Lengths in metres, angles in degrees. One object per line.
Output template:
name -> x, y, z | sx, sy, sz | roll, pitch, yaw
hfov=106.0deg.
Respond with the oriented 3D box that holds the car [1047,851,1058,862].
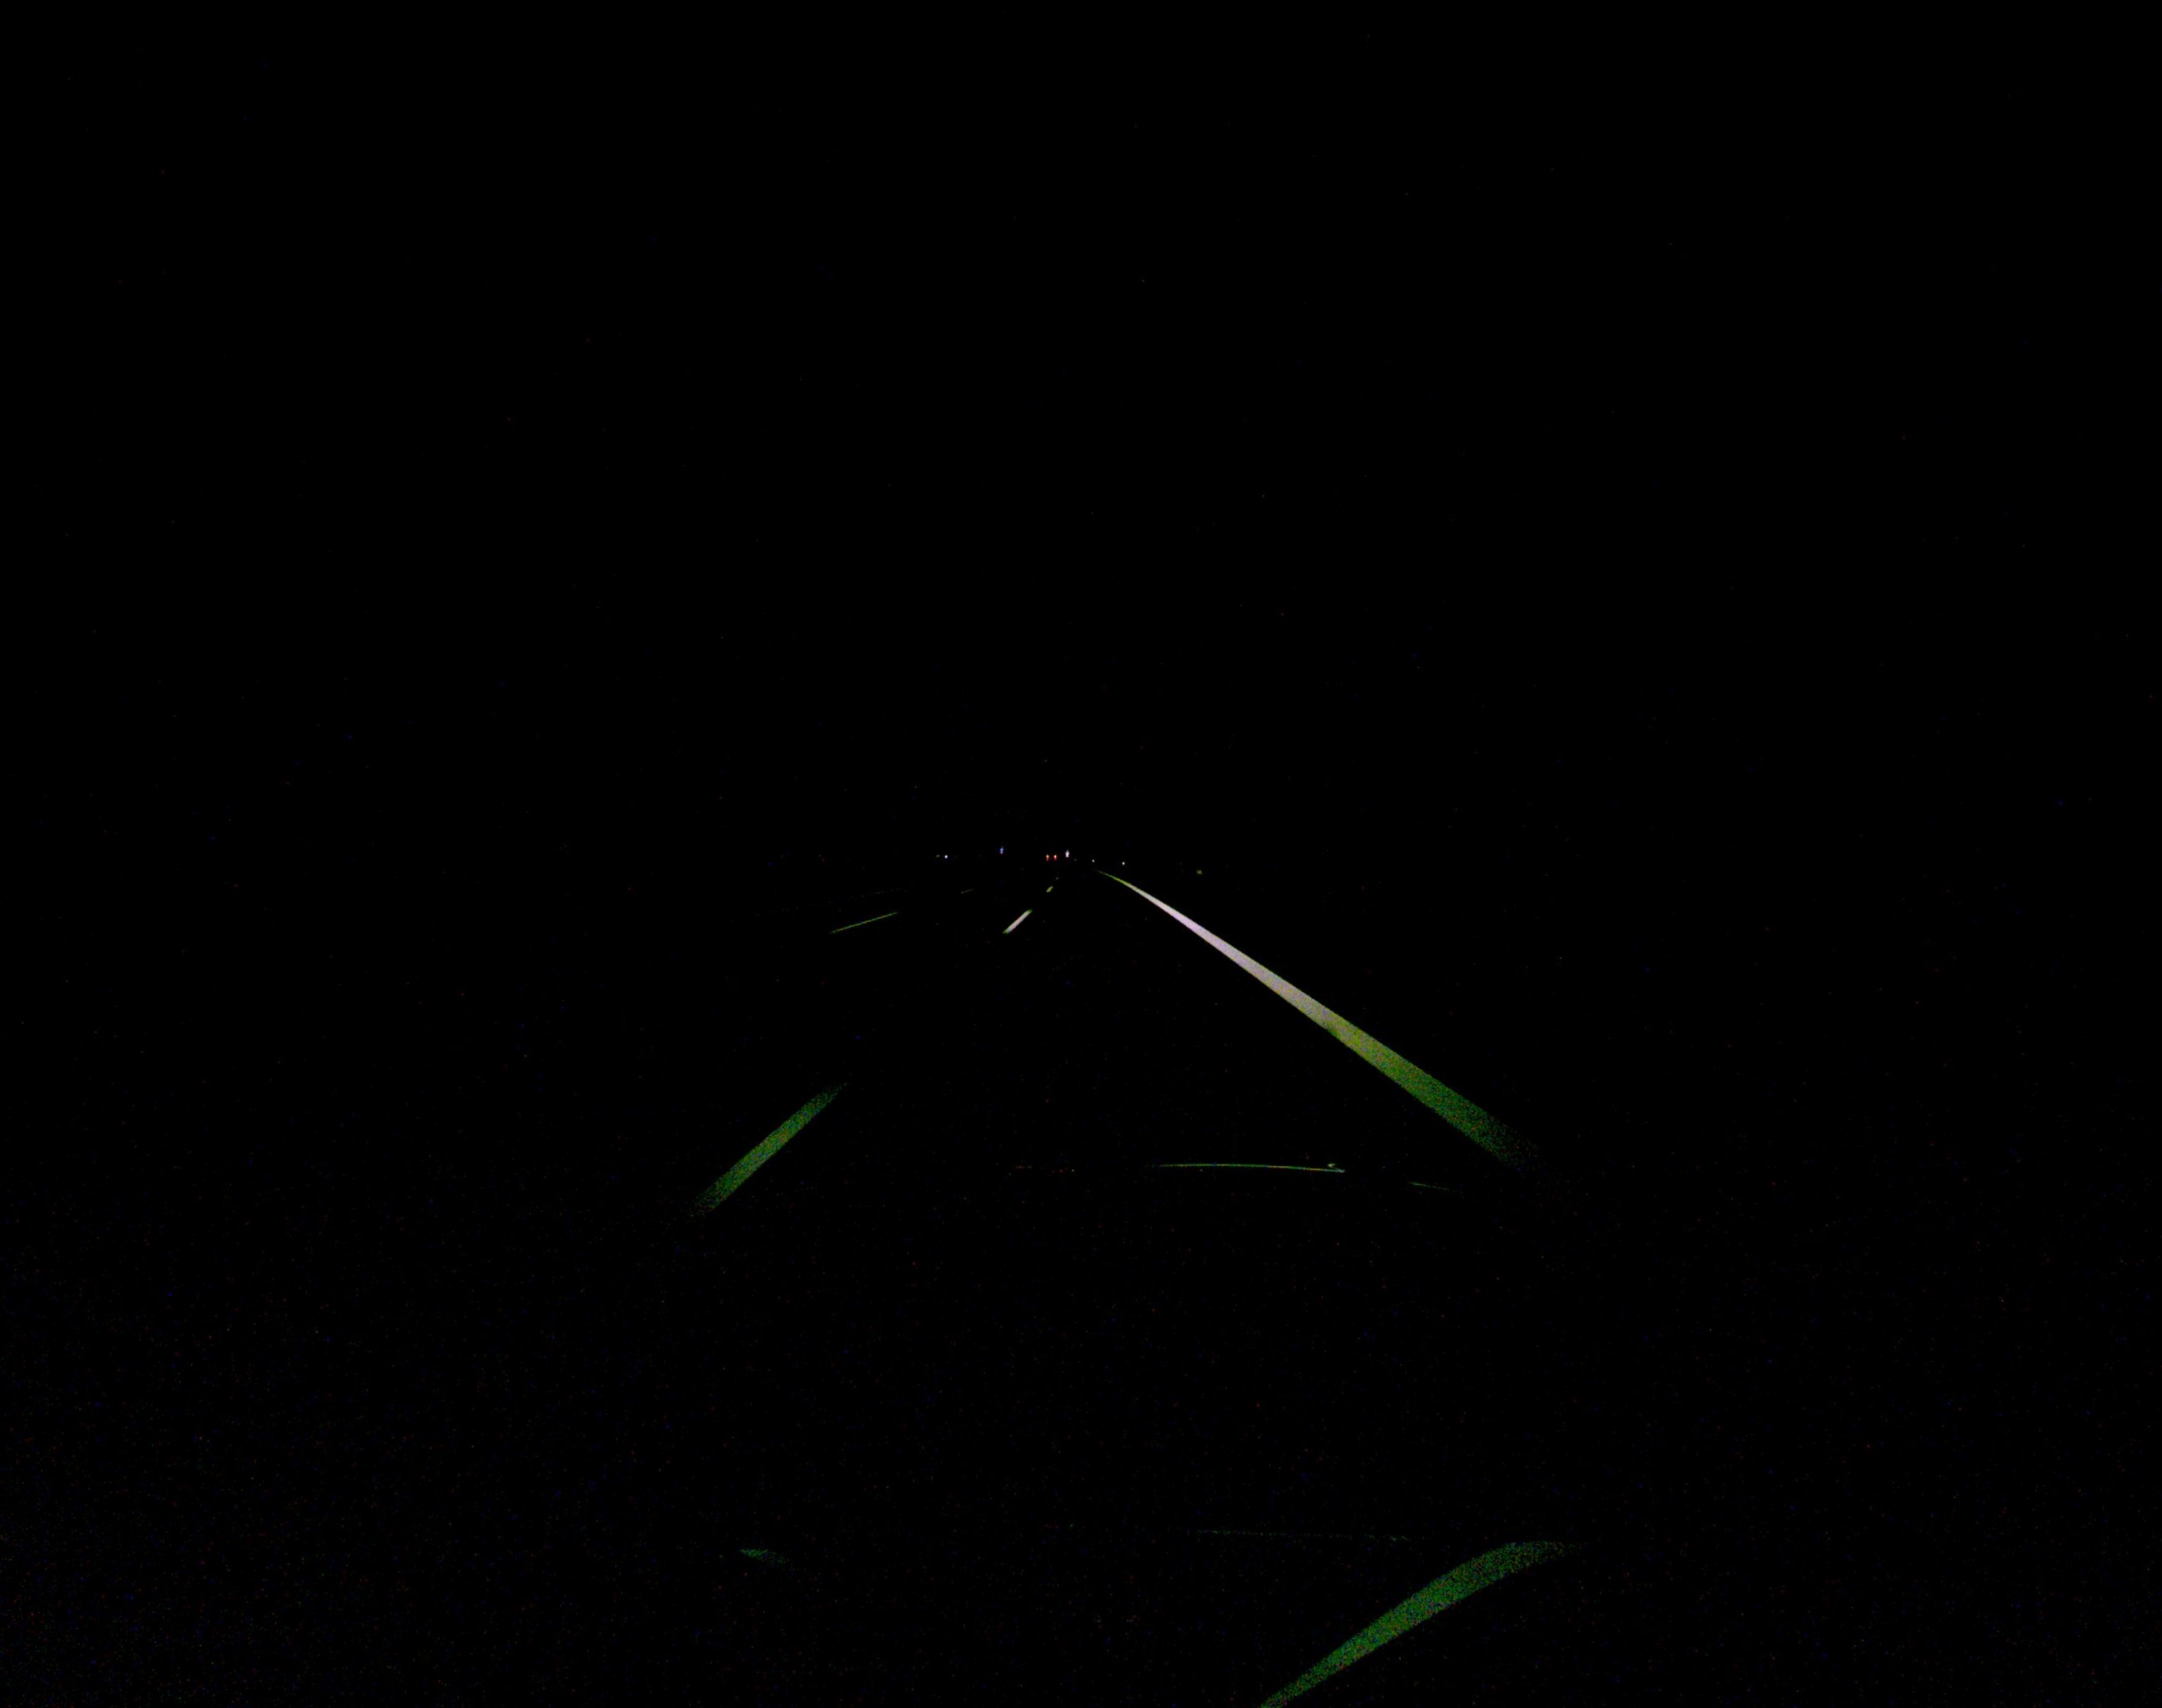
car -> -6.798, 0.606, 193.431 | 2.521, 2.553, 6.045 | 2, -1, -2
